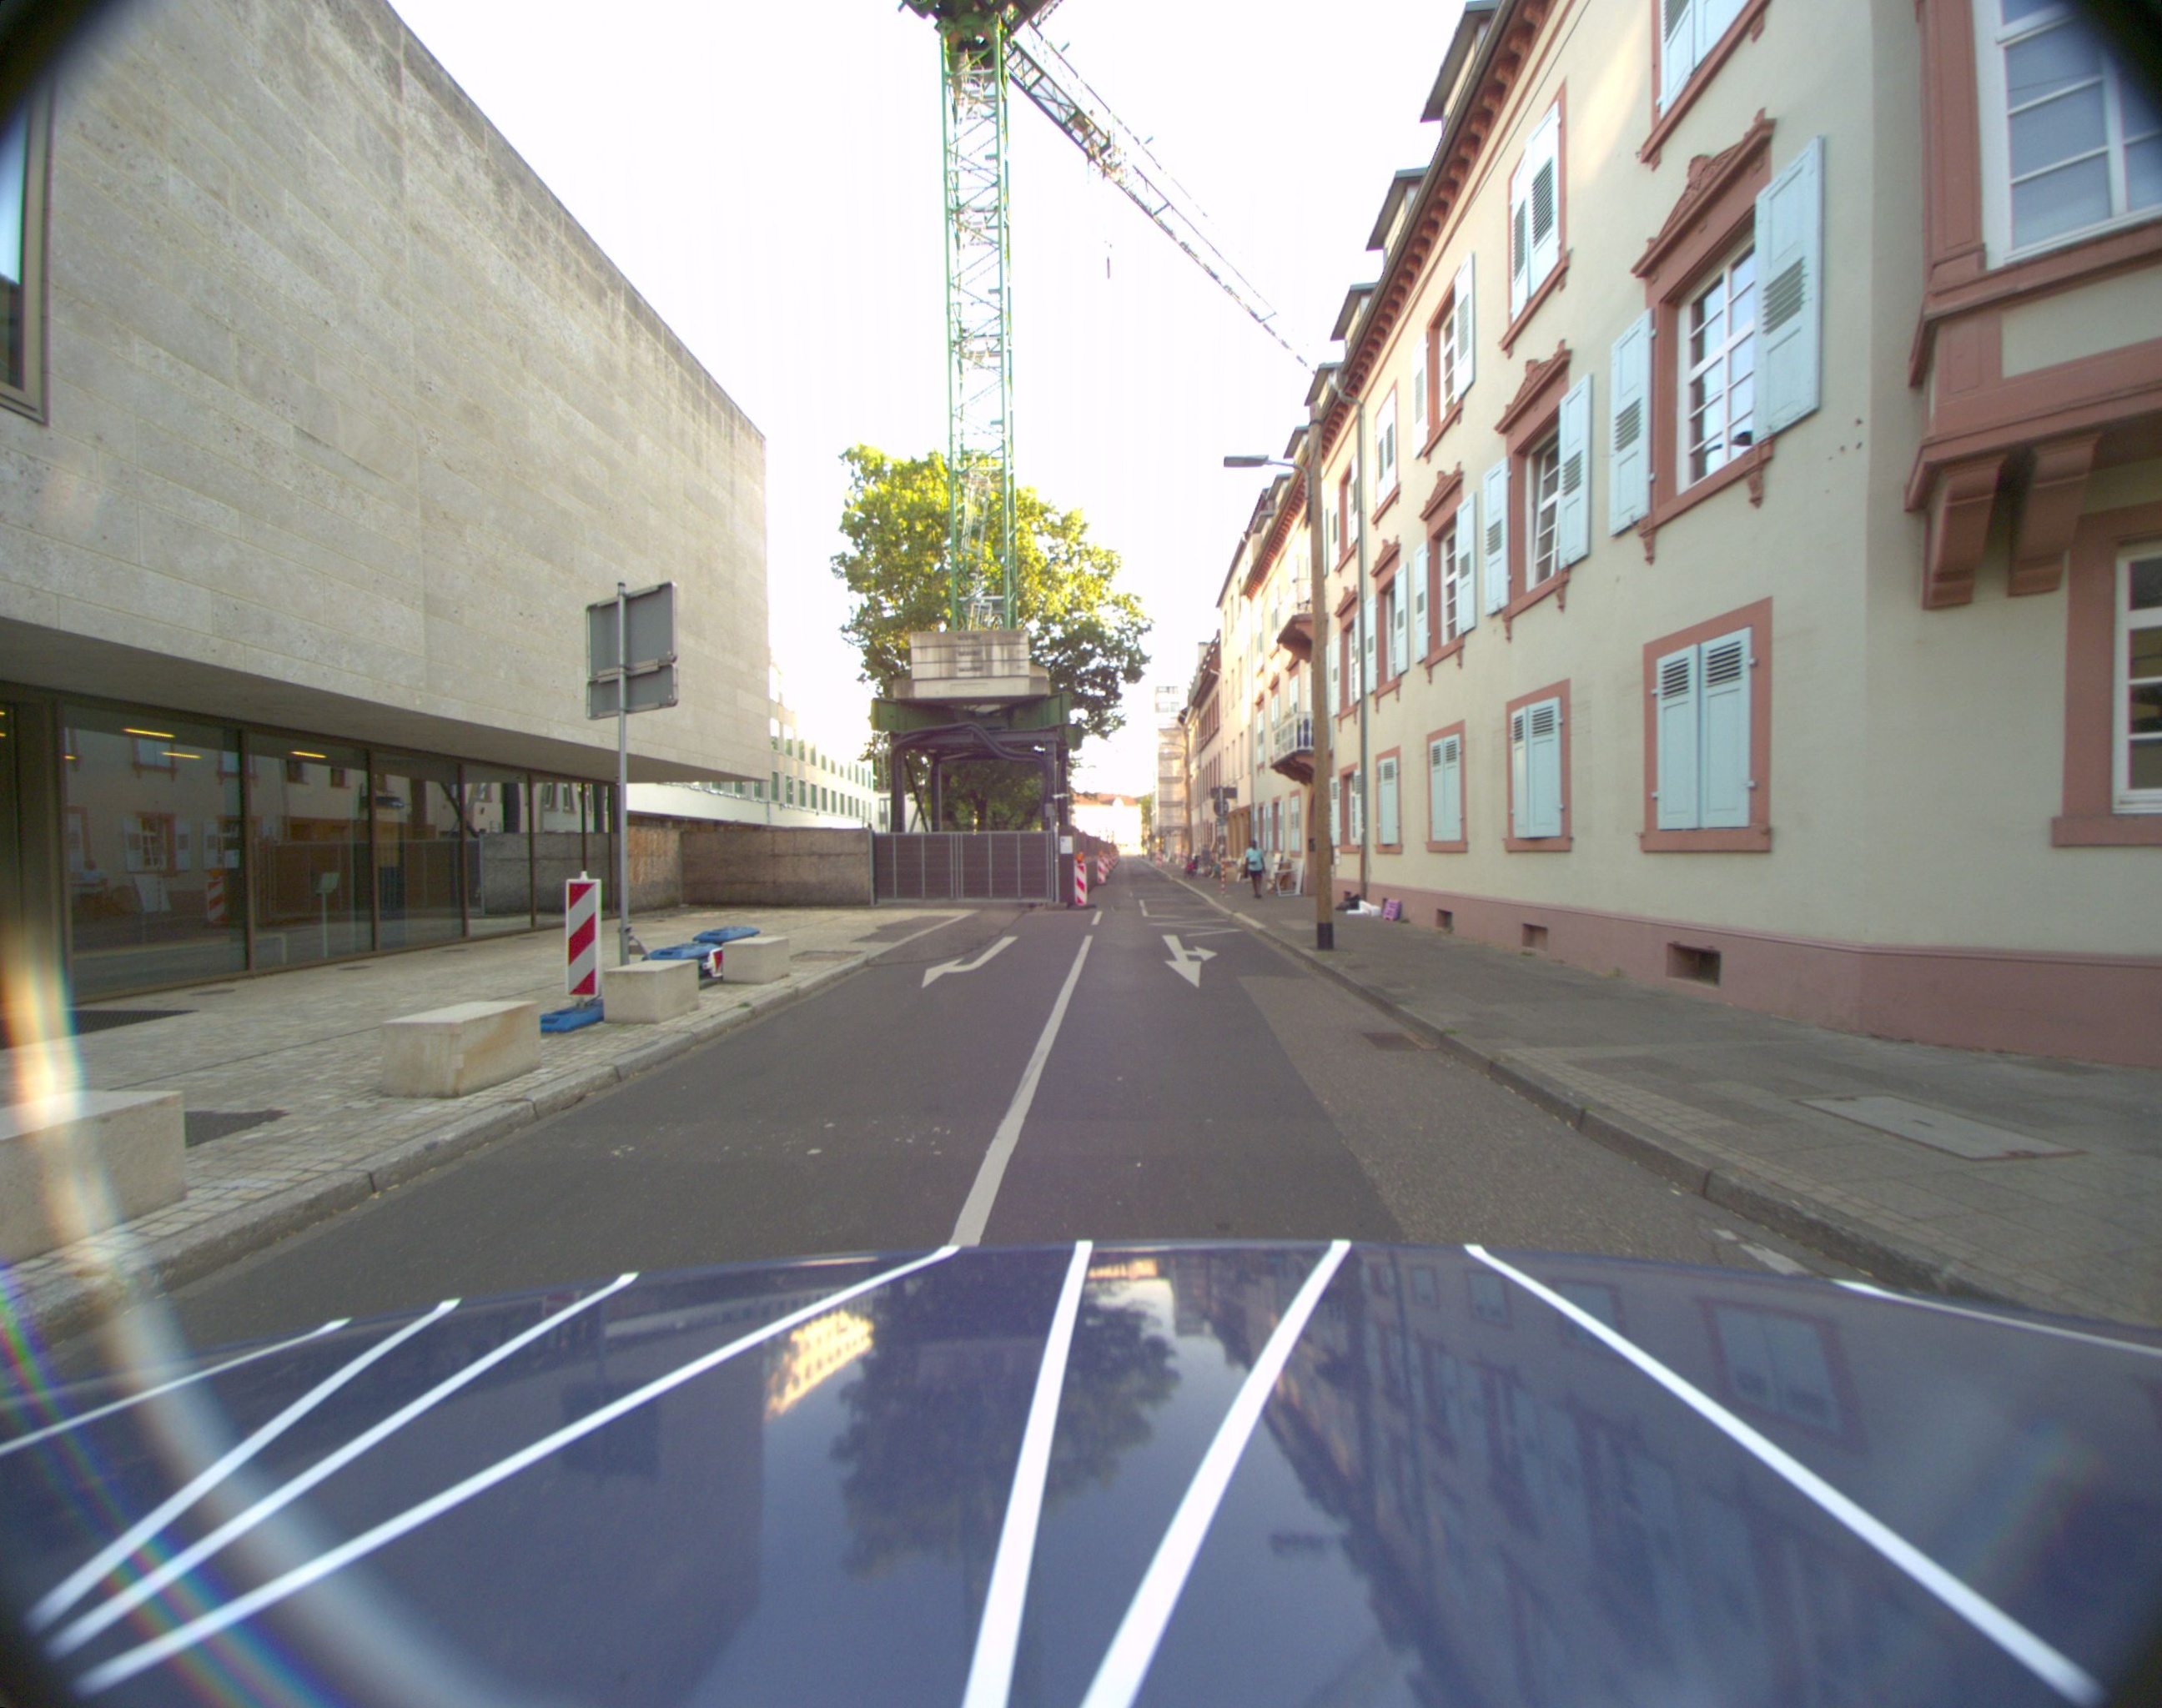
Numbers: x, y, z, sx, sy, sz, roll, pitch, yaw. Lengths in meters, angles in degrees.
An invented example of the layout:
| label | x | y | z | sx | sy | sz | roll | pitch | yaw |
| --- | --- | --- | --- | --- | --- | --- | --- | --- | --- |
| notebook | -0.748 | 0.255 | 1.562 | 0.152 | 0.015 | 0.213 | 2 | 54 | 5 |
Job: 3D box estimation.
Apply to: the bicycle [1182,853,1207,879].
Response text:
| label | x | y | z | sx | sy | sz | roll | pitch | yaw |
| --- | --- | --- | --- | --- | --- | --- | --- | --- | --- |
| bicycle | 5.490 | 0.577 | 36.782 | 0.659 | 1.163 | 1.611 | -1 | 1 | 29 |

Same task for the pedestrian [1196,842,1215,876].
| label | x | y | z | sx | sy | sz | roll | pitch | yaw |
| --- | --- | --- | --- | --- | --- | --- | --- | --- | --- |
| pedestrian | 6.418 | 0.265 | 39.116 | 0.826 | 1.687 | 0.649 | -2 | 1 | 2 |

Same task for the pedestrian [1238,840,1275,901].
| label | x | y | z | sx | sy | sz | roll | pitch | yaw |
| --- | --- | --- | --- | --- | --- | --- | --- | --- | --- |
| pedestrian | 5.057 | 0.467 | 21.903 | 0.826 | 1.687 | 0.649 | -4 | 1 | 2 |
